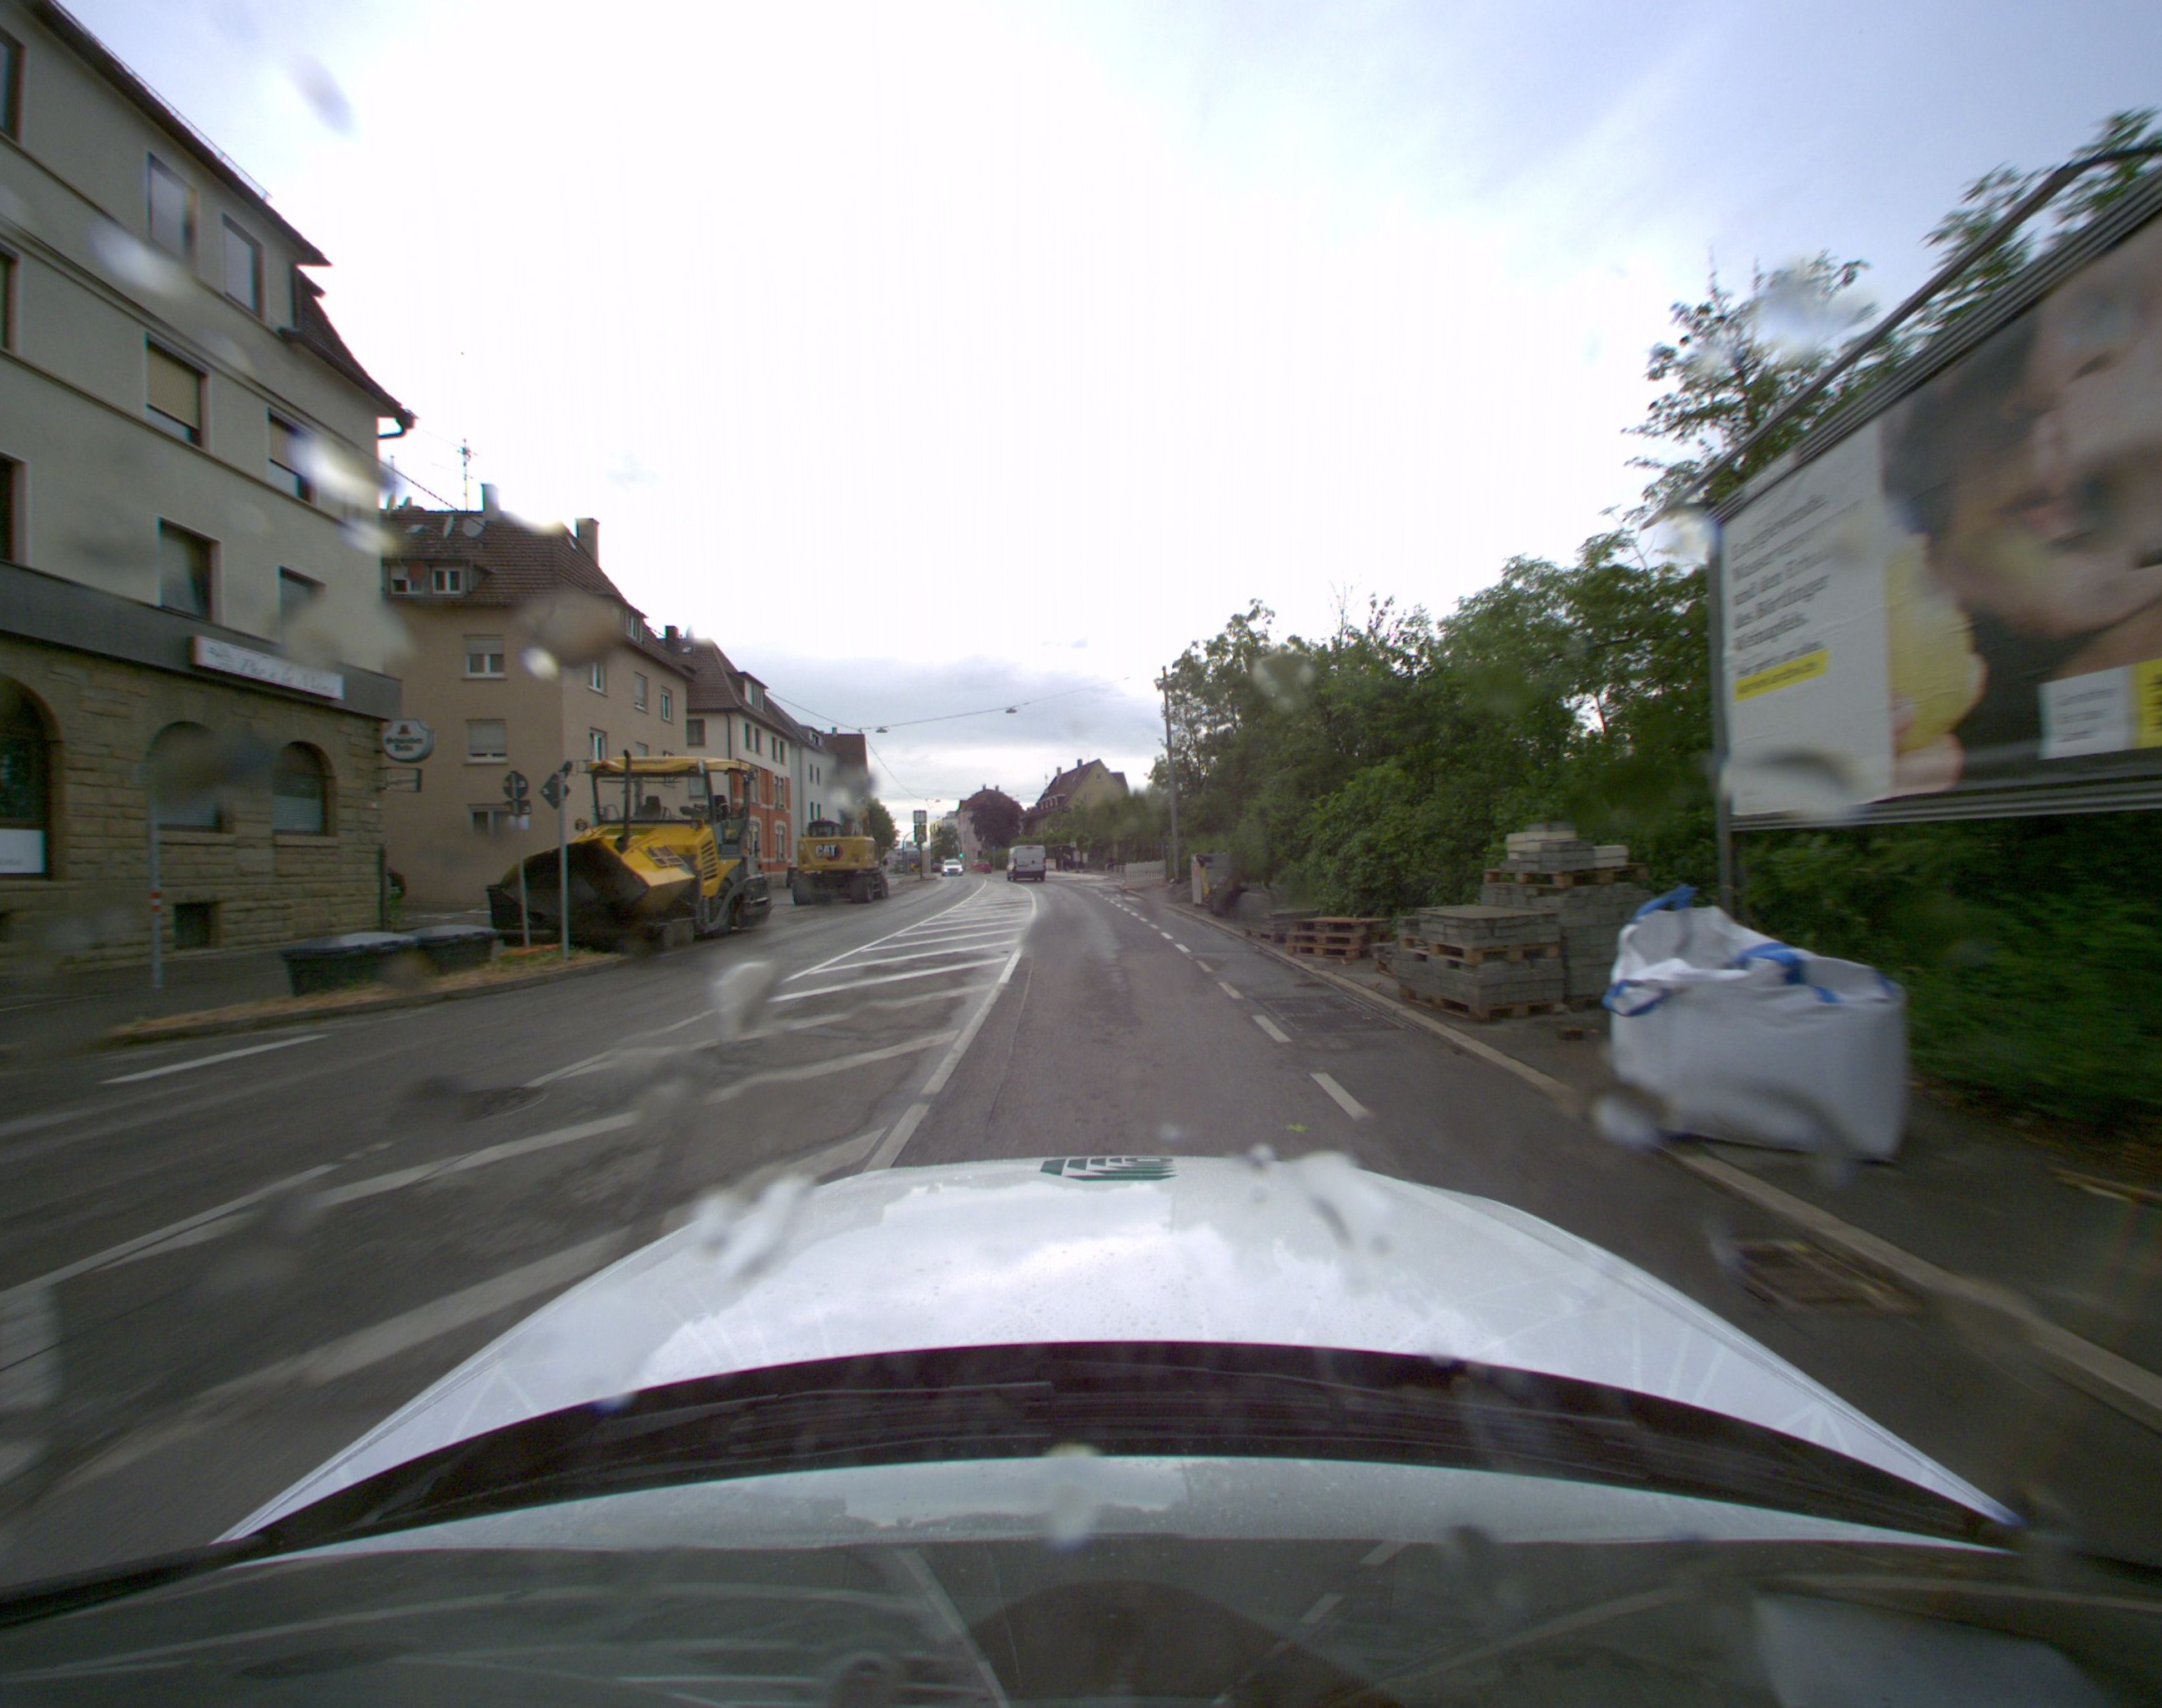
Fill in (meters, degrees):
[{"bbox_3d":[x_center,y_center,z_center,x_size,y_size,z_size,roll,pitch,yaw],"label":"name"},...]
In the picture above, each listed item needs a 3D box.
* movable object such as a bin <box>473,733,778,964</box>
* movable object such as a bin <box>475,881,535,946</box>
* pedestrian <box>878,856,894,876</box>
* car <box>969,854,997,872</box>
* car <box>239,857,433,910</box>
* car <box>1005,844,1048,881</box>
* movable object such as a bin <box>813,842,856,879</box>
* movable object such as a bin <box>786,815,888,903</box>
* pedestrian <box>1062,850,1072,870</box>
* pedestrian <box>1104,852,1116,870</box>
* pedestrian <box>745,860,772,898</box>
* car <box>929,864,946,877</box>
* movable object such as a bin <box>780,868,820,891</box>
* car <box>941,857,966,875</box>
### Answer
[{"bbox_3d":[-8.754,-0.174,16.674,2.765,3.855,5.988,0,1,0],"label":"movable object such as a bin"},{"bbox_3d":[-12.238,1.236,17.342,0.896,1.222,1.193,-1,2,-30],"label":"movable object such as a bin"},{"bbox_3d":[-20.039,1.233,83.628,1.216,2.013,1.040,-1,2,-37],"label":"pedestrian"},{"bbox_3d":[-10.151,0.856,84.009,2.242,1.656,4.689,-1,2,-16],"label":"car"},{"bbox_3d":[-22.427,0.862,24.659,3.978,1.442,1.850,-1,1,-4],"label":"car"},{"bbox_3d":[-3.600,0.494,52.992,2.238,2.213,4.696,-1,2,-11],"label":"car"},{"bbox_3d":[-18.714,0.436,62.149,1.988,2.682,4.625,0,1,-2],"label":"movable object such as a bin"},{"bbox_3d":[-9.350,0.251,31.662,2.865,3.174,4.120,-1,-2,-3],"label":"movable object such as a bin"},{"bbox_3d":[-1.266,0.543,72.589,0.903,1.731,0.653,0,1,-1],"label":"pedestrian"},{"bbox_3d":[2.285,0.551,64.199,0.876,1.367,1.065,0,1,-2],"label":"pedestrian"},{"bbox_3d":[-14.223,1.093,35.956,0.762,1.588,1.090,0,1,-3],"label":"pedestrian"},{"bbox_3d":[-21.841,2.525,123.991,2.240,1.804,4.692,-1,2,-14],"label":"car"},{"bbox_3d":[-17.402,1.562,50.580,1.552,1.355,3.990,-1,-1,-7],"label":"movable object such as a bin"},{"bbox_3d":[-11.863,1.112,75.540,1.930,1.556,4.599,0,-1,-13],"label":"car"}]
